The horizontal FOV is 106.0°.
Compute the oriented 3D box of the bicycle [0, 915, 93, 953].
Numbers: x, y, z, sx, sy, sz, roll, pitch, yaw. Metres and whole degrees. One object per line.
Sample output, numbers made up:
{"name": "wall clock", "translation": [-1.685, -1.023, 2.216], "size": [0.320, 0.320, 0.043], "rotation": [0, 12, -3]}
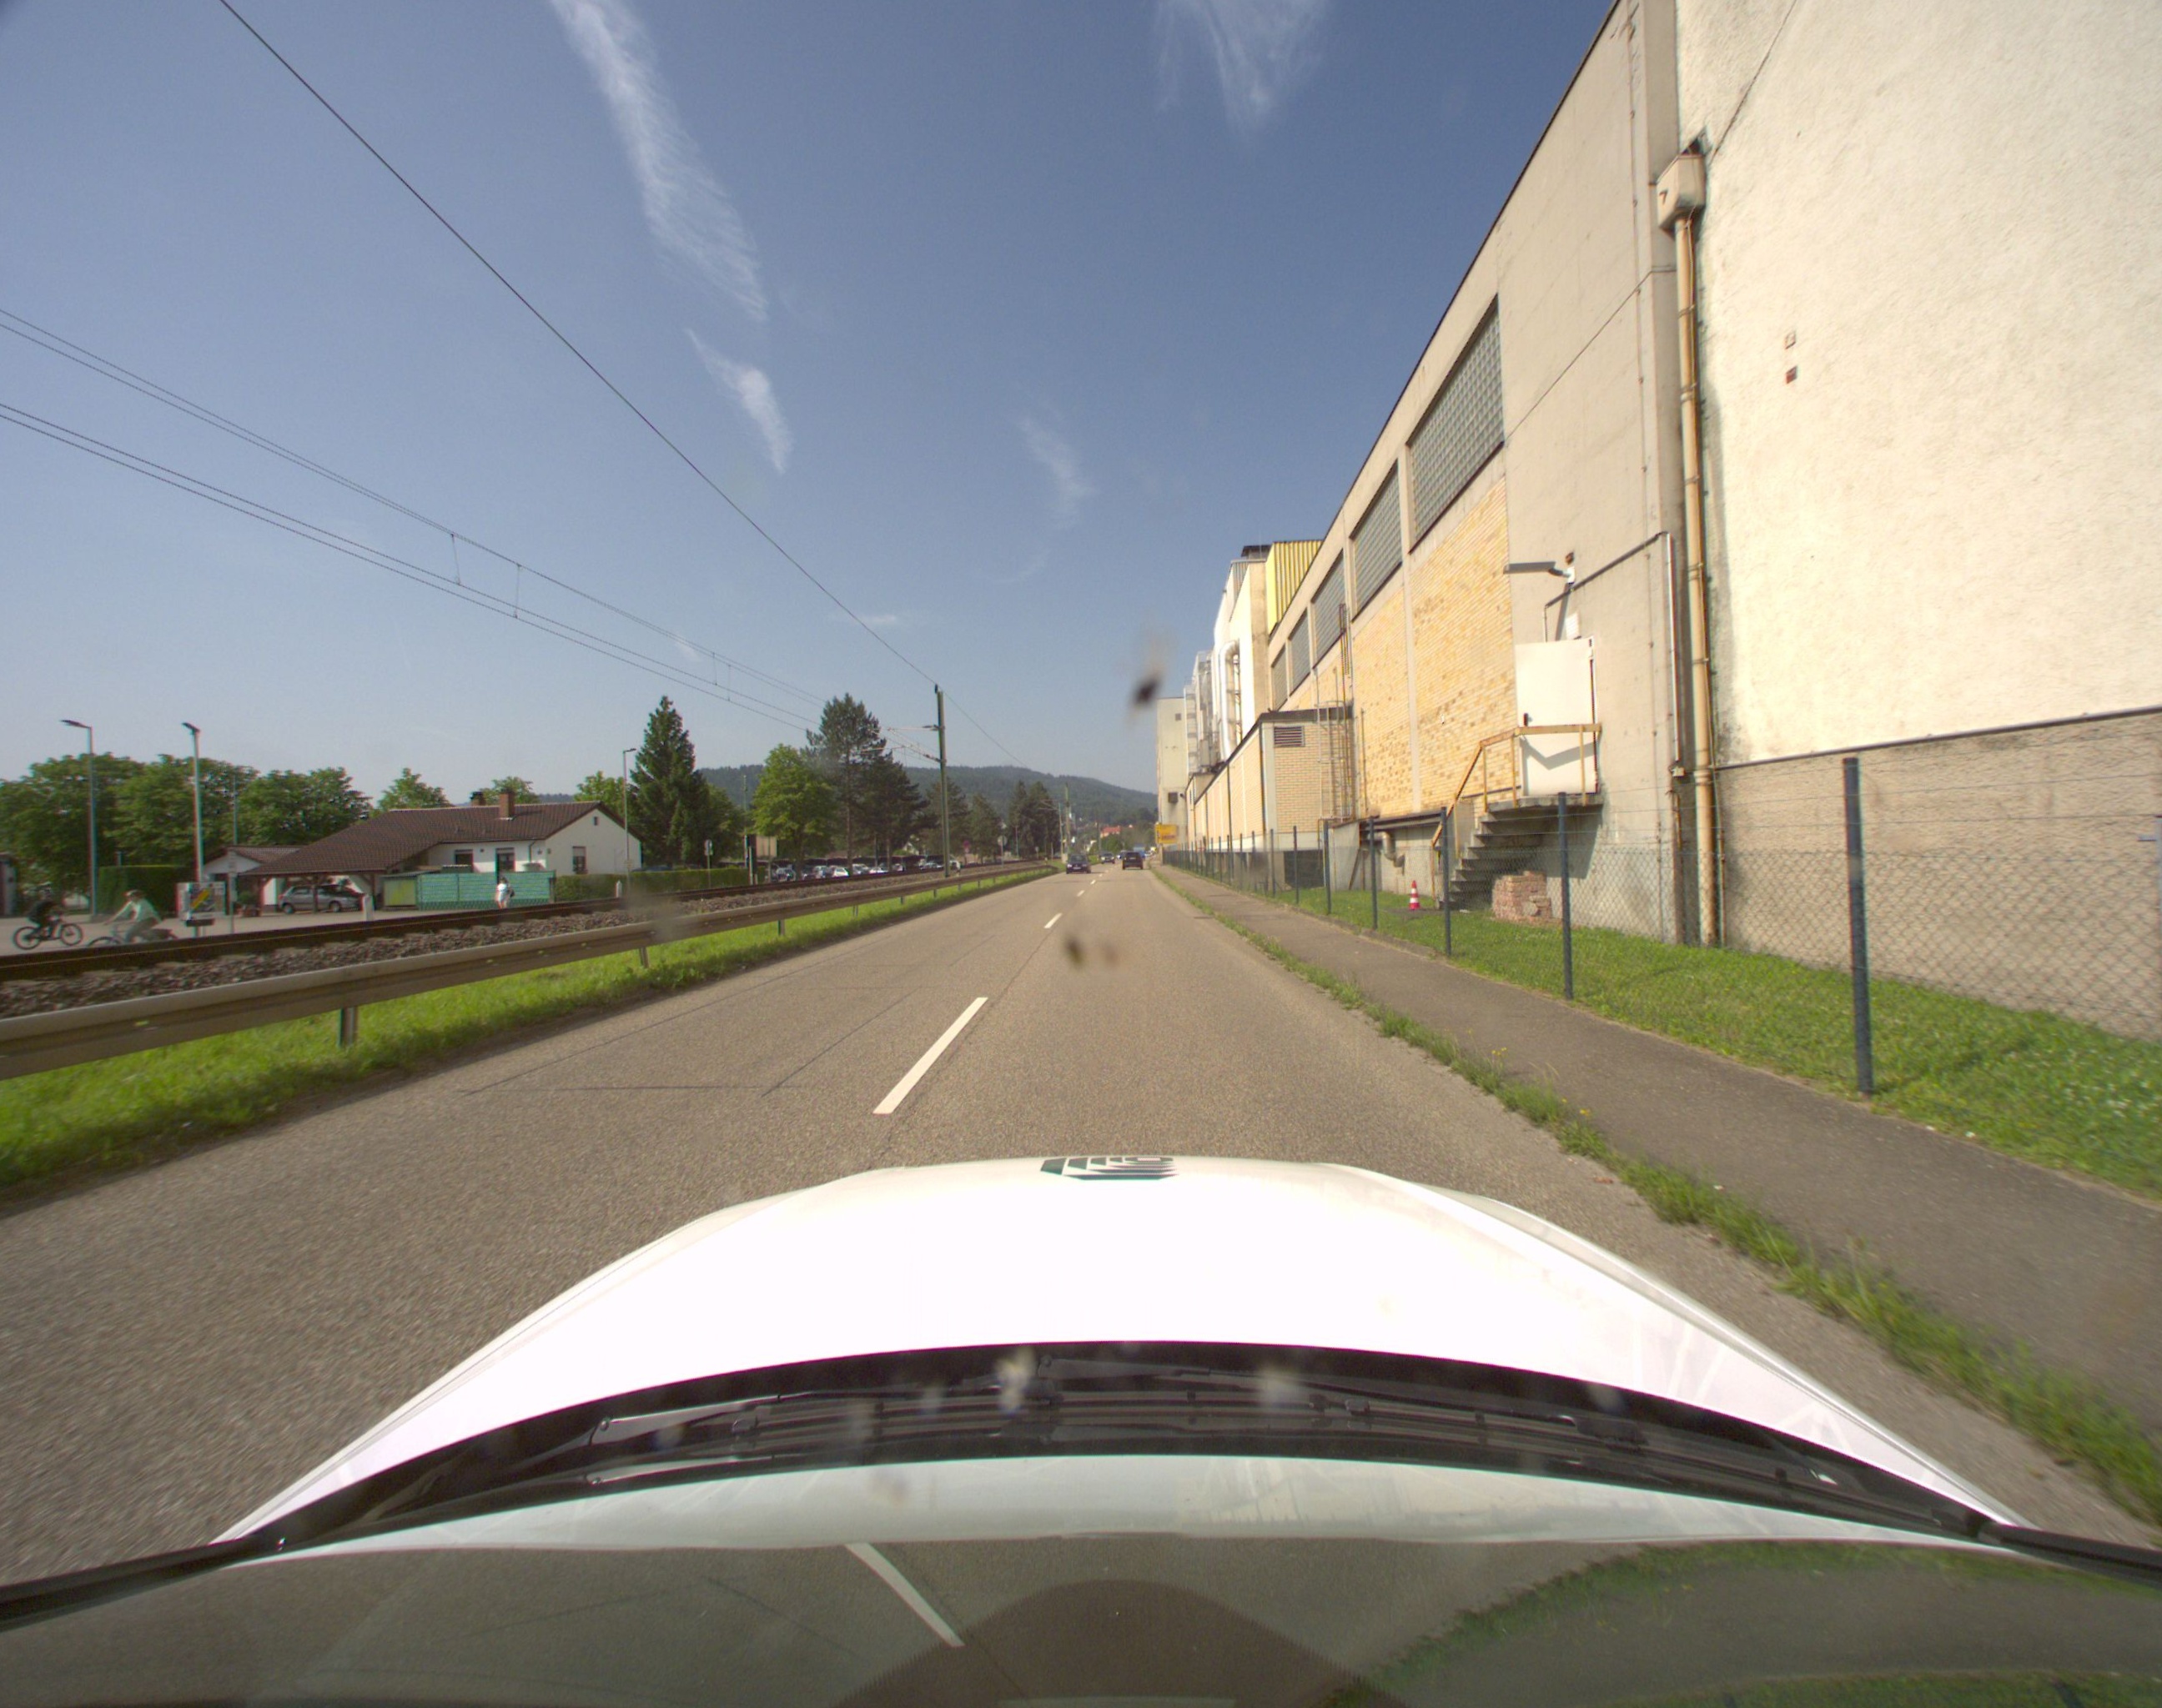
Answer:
{"name": "bicycle", "translation": [-33.898, 2.590, 26.604], "size": [0.751, 1.017, 1.965], "rotation": [-3, 0, 4]}

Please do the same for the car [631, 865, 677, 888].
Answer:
{"name": "car", "translation": [-27.476, 1.425, 52.489], "size": [1.386, 1.352, 2.894], "rotation": [-3, 0, 0]}

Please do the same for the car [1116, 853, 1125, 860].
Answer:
{"name": "car", "translation": [8.668, 0.592, 179.559], "size": [1.759, 1.405, 4.302], "rotation": [-3, 0, 5]}

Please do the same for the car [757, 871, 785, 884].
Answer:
{"name": "car", "translation": [-36.990, 2.833, 97.089], "size": [1.698, 1.406, 3.805], "rotation": [-3, 0, -45]}

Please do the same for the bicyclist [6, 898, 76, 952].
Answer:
{"name": "bicyclist", "translation": [-33.916, 2.285, 26.575], "size": [0.742, 1.620, 1.147], "rotation": [-3, 0, 4]}

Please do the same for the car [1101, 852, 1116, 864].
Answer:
{"name": "car", "translation": [3.935, 0.597, 116.265], "size": [1.898, 1.600, 4.575], "rotation": [-2, 0, 4]}

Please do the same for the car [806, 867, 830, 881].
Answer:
{"name": "car", "translation": [-34.117, 2.610, 105.546], "size": [1.697, 1.642, 3.807], "rotation": [-3, 0, -39]}

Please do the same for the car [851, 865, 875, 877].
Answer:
{"name": "car", "translation": [-29.692, 2.346, 110.959], "size": [1.697, 1.506, 3.807], "rotation": [-3, 0, -39]}

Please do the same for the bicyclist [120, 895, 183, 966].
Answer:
{"name": "bicyclist", "translation": [-22.753, 1.857, 19.949], "size": [0.531, 1.646, 0.831], "rotation": [-3, 0, -1]}

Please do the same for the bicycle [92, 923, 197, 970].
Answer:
{"name": "bicycle", "translation": [-22.738, 2.221, 19.827], "size": [0.543, 0.923, 1.709], "rotation": [-3, 0, -1]}

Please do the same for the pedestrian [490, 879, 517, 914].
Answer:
{"name": "pedestrian", "translation": [-23.426, 1.711, 33.045], "size": [0.572, 1.332, 0.673], "rotation": [-2, 0, -5]}

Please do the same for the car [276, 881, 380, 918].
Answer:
{"name": "car", "translation": [-39.276, 2.356, 42.540], "size": [3.820, 1.651, 1.714], "rotation": [-3, 0, 3]}

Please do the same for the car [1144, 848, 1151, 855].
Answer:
{"name": "car", "translation": [18.158, -0.654, 222.469], "size": [1.659, 1.823, 3.758], "rotation": [-2, 0, 6]}

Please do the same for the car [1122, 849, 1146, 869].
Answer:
{"name": "car", "translation": [4.844, 0.416, 73.725], "size": [1.909, 1.640, 4.008], "rotation": [-2, 0, 7]}

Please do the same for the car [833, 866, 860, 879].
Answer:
{"name": "car", "translation": [-28.577, 2.311, 99.227], "size": [1.697, 1.443, 3.807], "rotation": [-3, 0, -39]}

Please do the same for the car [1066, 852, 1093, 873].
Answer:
{"name": "car", "translation": [-0.097, 0.619, 61.539], "size": [1.757, 1.403, 4.123], "rotation": [-2, 0, 3]}

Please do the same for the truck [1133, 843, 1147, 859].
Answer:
{"name": "truck", "translation": [11.062, -0.605, 152.910], "size": [2.303, 2.970, 5.970], "rotation": [-2, 0, 3]}
